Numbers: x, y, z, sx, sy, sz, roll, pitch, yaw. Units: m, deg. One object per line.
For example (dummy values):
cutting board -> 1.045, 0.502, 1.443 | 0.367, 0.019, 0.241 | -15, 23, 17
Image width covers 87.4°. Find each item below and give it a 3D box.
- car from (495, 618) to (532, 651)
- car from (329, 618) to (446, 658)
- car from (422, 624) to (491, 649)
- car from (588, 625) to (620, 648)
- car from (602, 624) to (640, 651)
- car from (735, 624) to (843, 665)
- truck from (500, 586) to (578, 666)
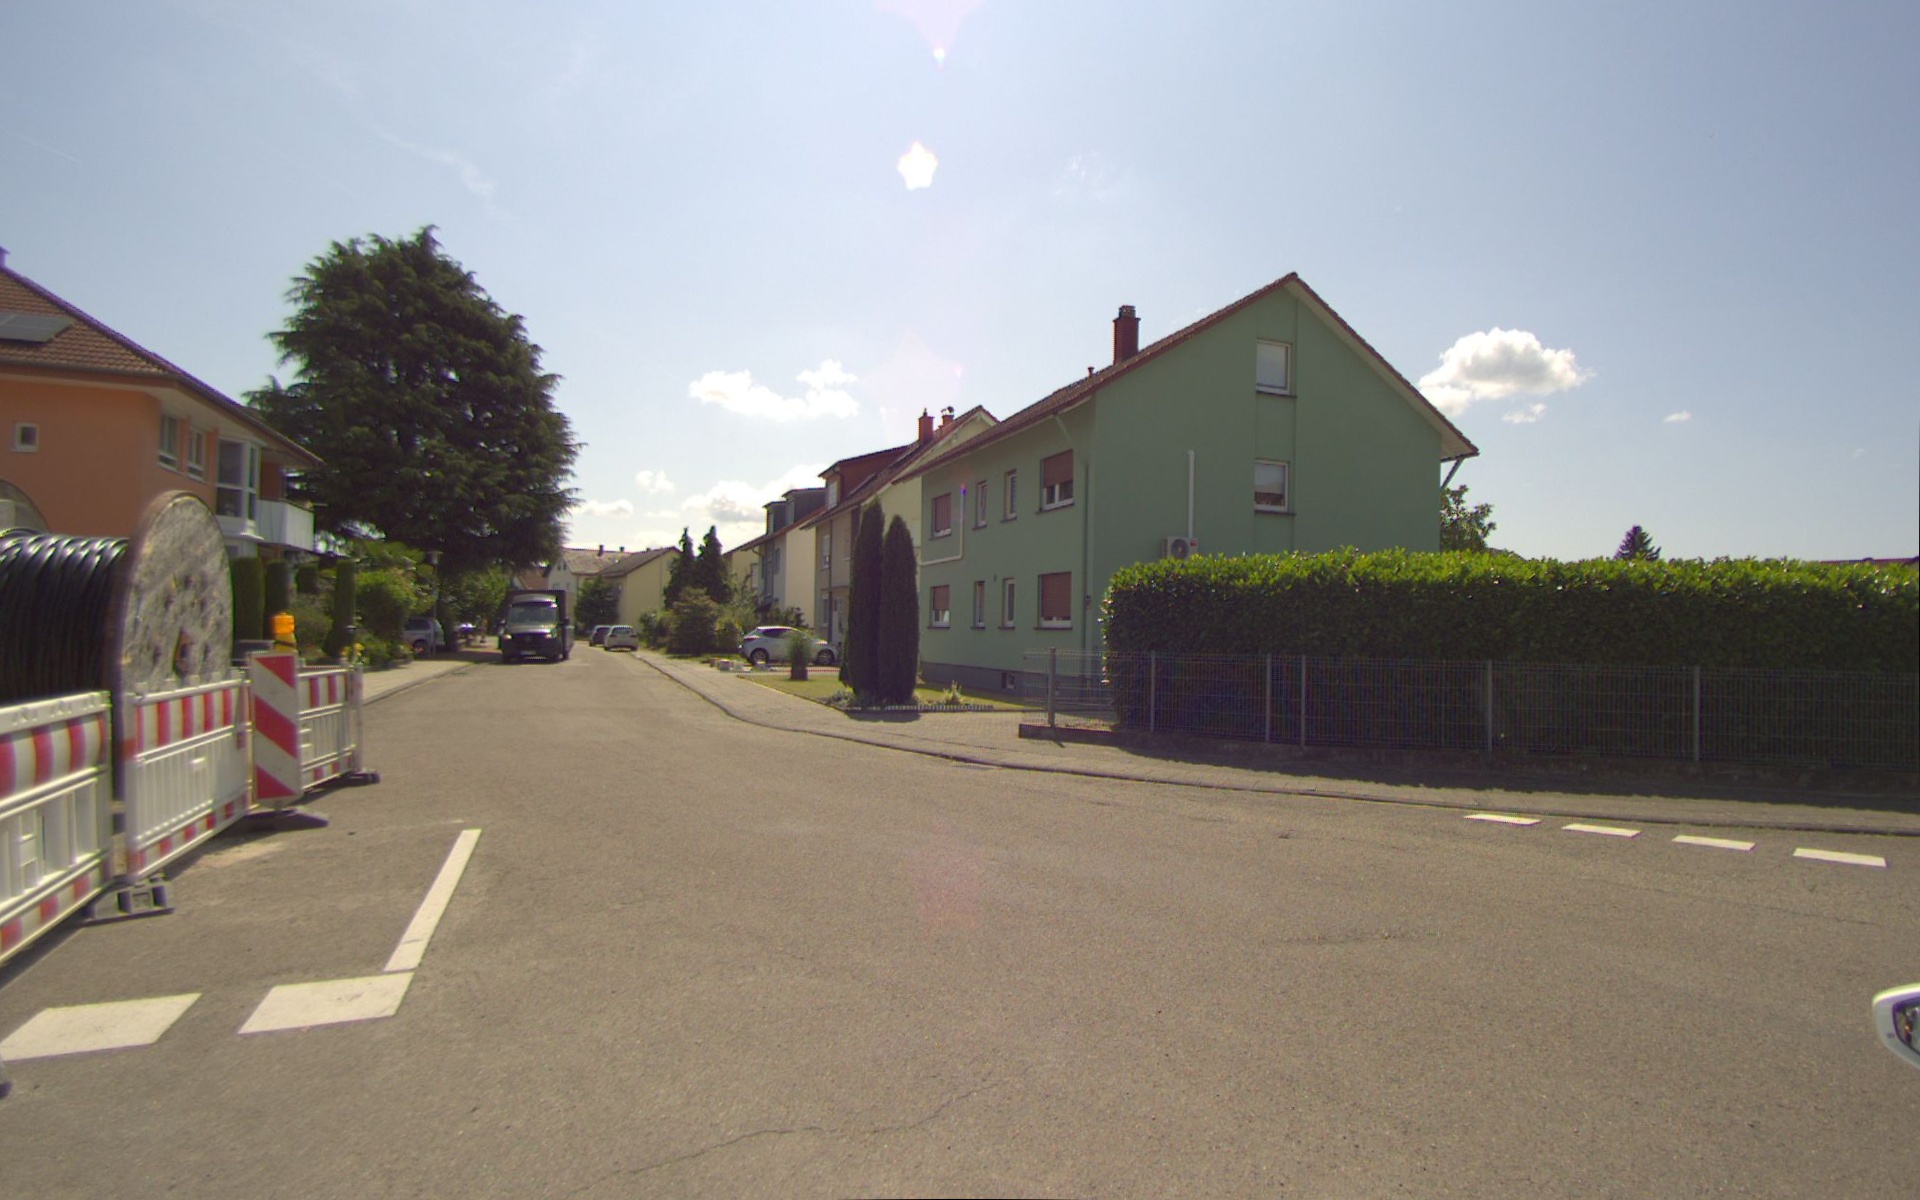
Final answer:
car -> -25.331, 1.941, 57.048 | 1.789, 1.786, 4.182 | 2, -2, -24
car -> -25.252, 1.671, 44.462 | 4.141, 1.675, 1.806 | 2, -2, -19
car -> -35.970, 2.605, 71.870 | 4.141, 1.675, 1.806 | 2, -2, -19
car -> -25.433, 2.583, 71.682 | 1.789, 1.514, 3.977 | 2, -2, -24
car -> -20.298, 2.220, 60.004 | 1.789, 1.514, 3.977 | 2, -2, -24
car -> -6.660, 1.733, 39.088 | 3.867, 1.530, 1.766 | 1, -1, -21
truck -> -16.579, 0.997, 39.905 | 2.404, 2.825, 7.266 | -1, -1, -20
